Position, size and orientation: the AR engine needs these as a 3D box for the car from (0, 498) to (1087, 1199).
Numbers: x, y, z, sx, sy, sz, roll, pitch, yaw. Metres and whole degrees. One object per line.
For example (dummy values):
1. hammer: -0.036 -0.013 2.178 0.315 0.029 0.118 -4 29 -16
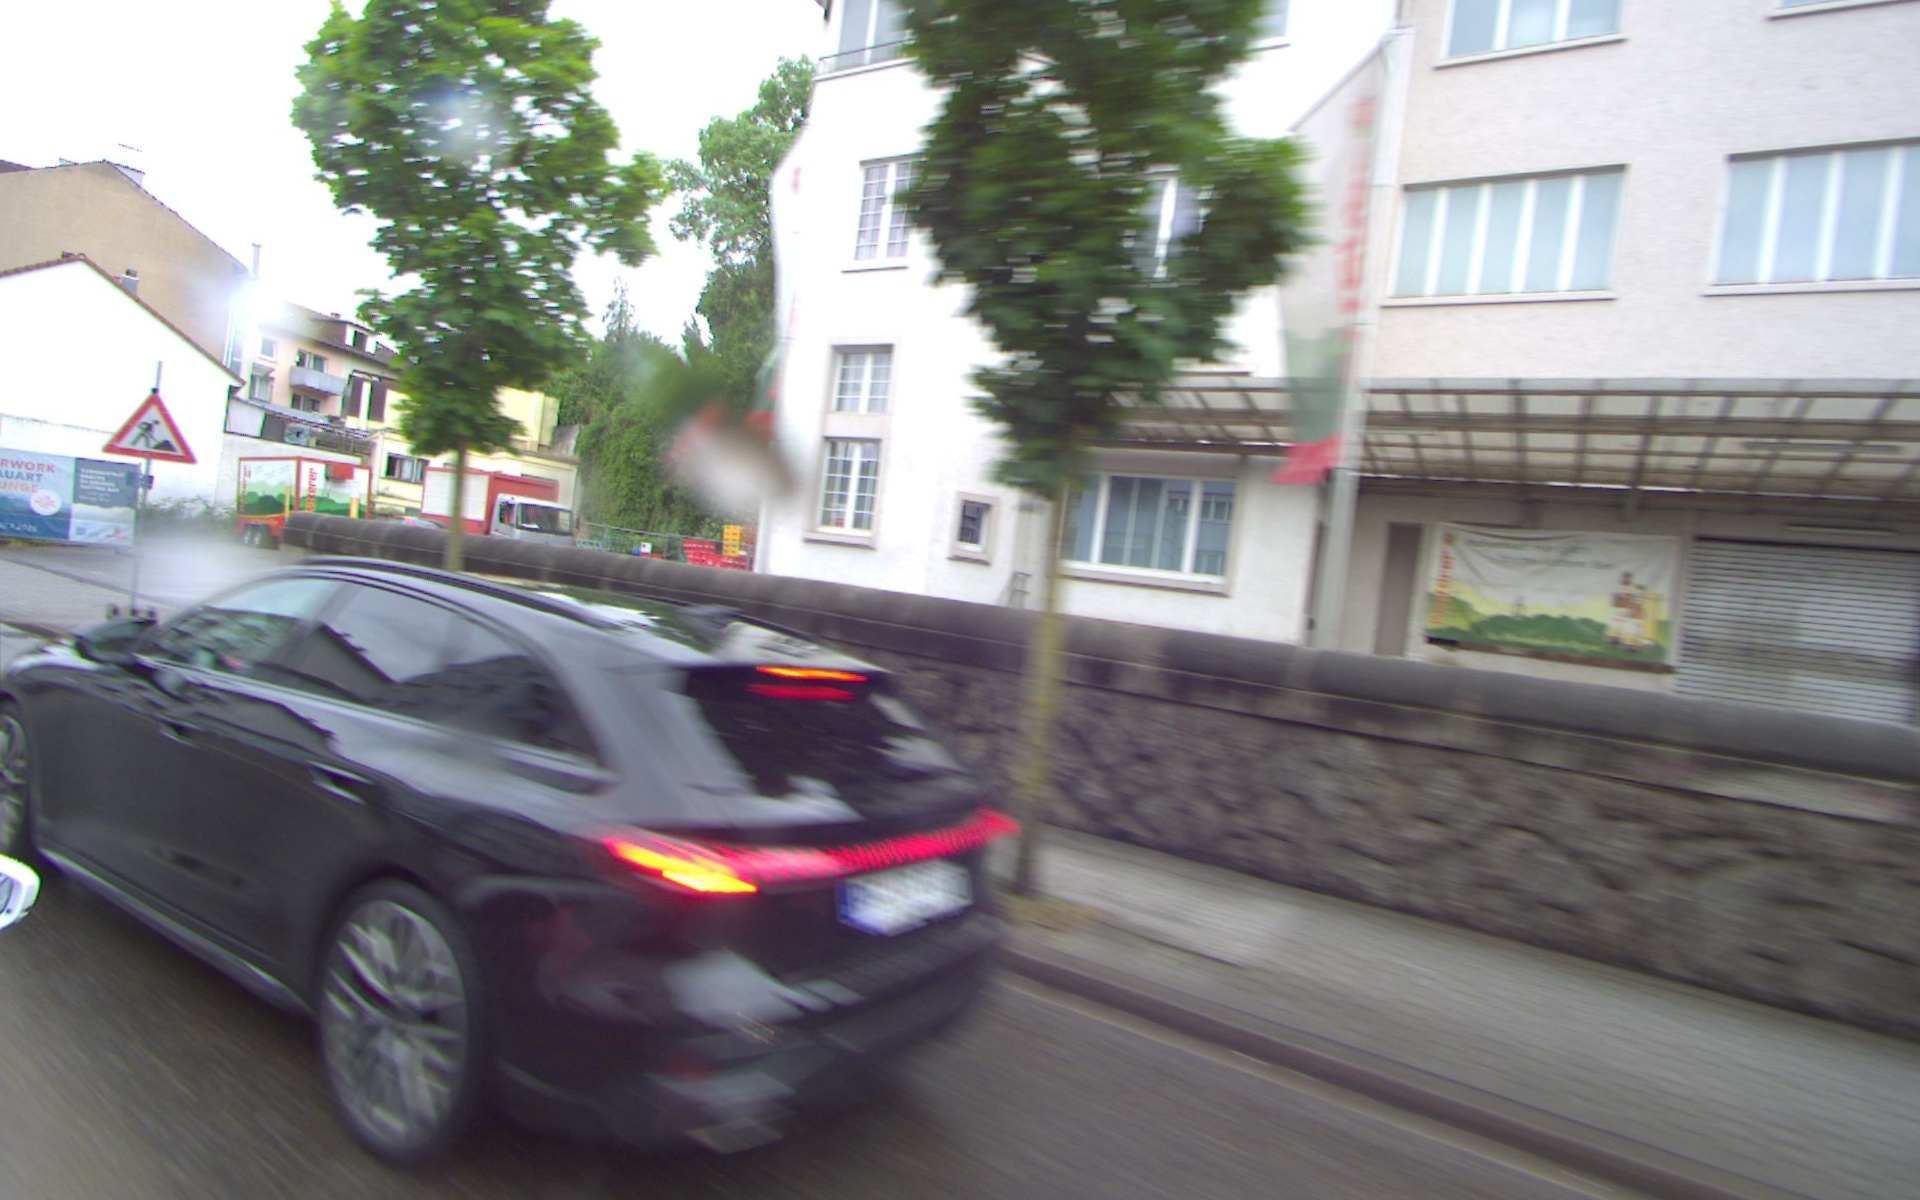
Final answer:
1. car: -2.025 0.540 3.897 4.556 1.420 1.791 7 1 32

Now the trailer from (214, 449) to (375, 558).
1. trailer: -20.246 -2.943 30.508 5.304 2.753 2.126 8 3 34

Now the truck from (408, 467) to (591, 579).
1. truck: -16.121 -2.736 34.979 6.822 3.258 2.630 7 2 36

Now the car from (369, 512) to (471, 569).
1. car: -17.511 -1.944 32.603 3.214 1.475 1.589 7 1 36
